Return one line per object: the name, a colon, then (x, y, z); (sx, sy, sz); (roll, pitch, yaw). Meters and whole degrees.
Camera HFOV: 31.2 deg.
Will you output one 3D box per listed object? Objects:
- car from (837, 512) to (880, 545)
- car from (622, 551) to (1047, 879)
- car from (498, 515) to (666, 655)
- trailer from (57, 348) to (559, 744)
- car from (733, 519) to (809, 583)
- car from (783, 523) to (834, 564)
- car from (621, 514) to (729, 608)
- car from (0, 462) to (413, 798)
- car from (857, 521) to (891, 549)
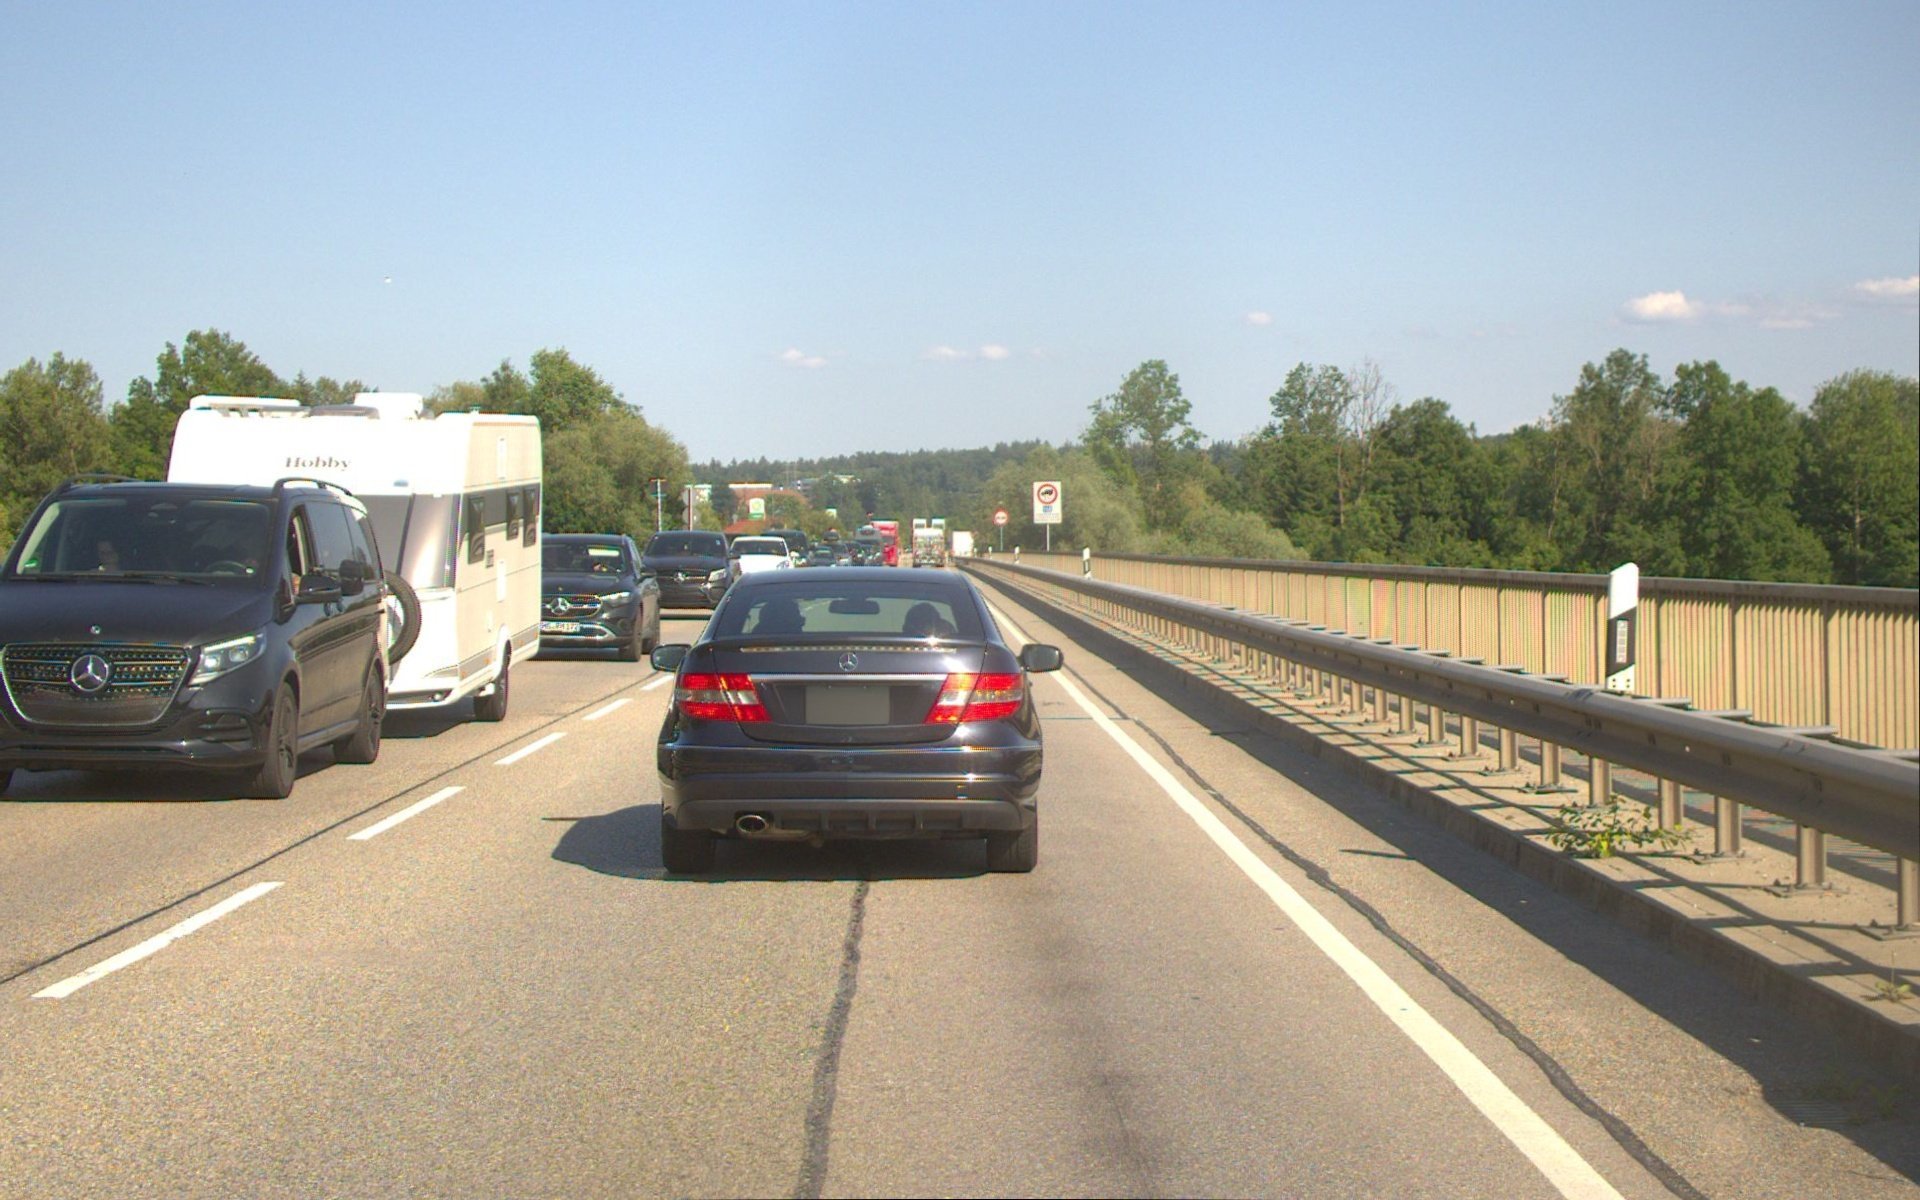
car: (-5.399, -3.802, 182.628); (2.053, 1.647, 4.722); (2, 1, -4)
car: (-0.542, 0.458, 16.543); (1.793, 1.371, 4.000); (0, 1, 0)
car: (-4.815, -0.238, 44.313); (1.802, 1.655, 4.434); (2, 1, -2)
trailer: (-5.002, -0.472, 27.916); (2.555, 2.728, 8.063); (0, 1, 0)
car: (-5.189, -1.360, 94.103); (1.983, 1.645, 4.599); (2, 1, -3)
car: (-5.683, -2.122, 128.187); (1.765, 1.442, 4.457); (2, 1, -4)
car: (-5.461, -0.771, 66.219); (1.949, 1.688, 4.478); (1, 2, -4)
car: (-4.824, 0.121, 21.482); (1.983, 1.847, 5.008); (0, 1, 0)
car: (-4.940, -3.748, 197.204); (1.806, 1.572, 4.202); (0, 1, -4)
